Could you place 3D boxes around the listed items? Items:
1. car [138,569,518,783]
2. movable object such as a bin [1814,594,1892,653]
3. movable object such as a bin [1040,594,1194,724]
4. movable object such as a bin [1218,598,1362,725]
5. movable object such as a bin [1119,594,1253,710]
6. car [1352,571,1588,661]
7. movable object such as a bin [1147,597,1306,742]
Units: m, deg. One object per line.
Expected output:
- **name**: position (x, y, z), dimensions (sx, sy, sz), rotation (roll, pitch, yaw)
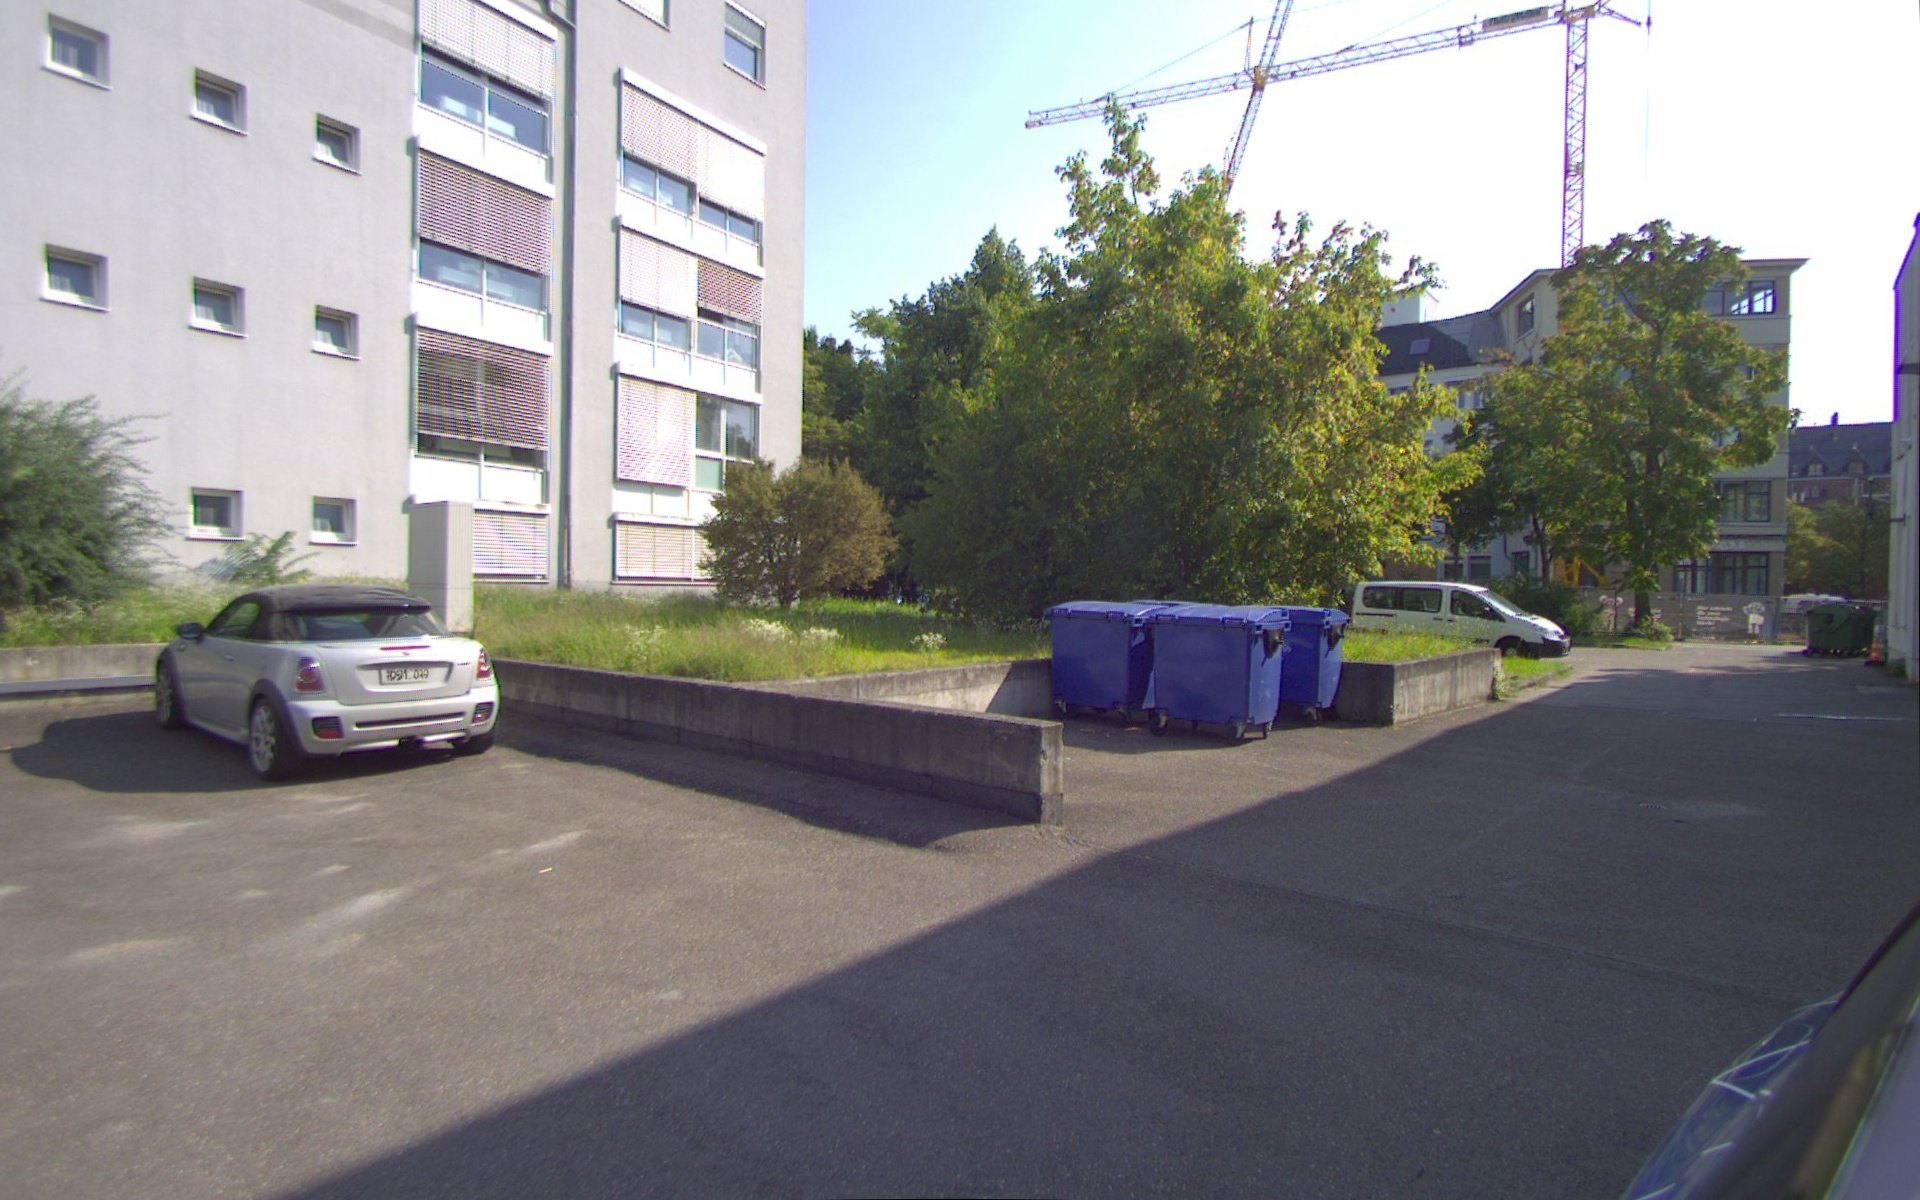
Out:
- **car**: position (-5.543, 0.498, 8.743), dimensions (3.562, 1.455, 1.636), rotation (2, 1, 37)
- **movable object such as a bin**: position (23.759, 0.604, 26.980), dimensions (1.519, 1.484, 1.256), rotation (1, 0, 41)
- **movable object such as a bin**: position (1.790, 0.618, 11.502), dimensions (1.252, 1.344, 1.256), rotation (1, 0, 41)
- **movable object such as a bin**: position (3.827, 0.654, 11.717), dimensions (1.195, 1.344, 1.256), rotation (1, 0, 41)
- **movable object such as a bin**: position (2.834, 0.601, 12.662), dimensions (1.195, 1.344, 1.256), rotation (1, 0, 41)
- **car**: position (12.276, 0.321, 24.574), dimensions (4.776, 1.956, 1.879), rotation (2, 1, 43)
- **movable object such as a bin**: position (2.789, 0.666, 10.568), dimensions (1.208, 1.368, 1.257), rotation (1, 0, 38)
